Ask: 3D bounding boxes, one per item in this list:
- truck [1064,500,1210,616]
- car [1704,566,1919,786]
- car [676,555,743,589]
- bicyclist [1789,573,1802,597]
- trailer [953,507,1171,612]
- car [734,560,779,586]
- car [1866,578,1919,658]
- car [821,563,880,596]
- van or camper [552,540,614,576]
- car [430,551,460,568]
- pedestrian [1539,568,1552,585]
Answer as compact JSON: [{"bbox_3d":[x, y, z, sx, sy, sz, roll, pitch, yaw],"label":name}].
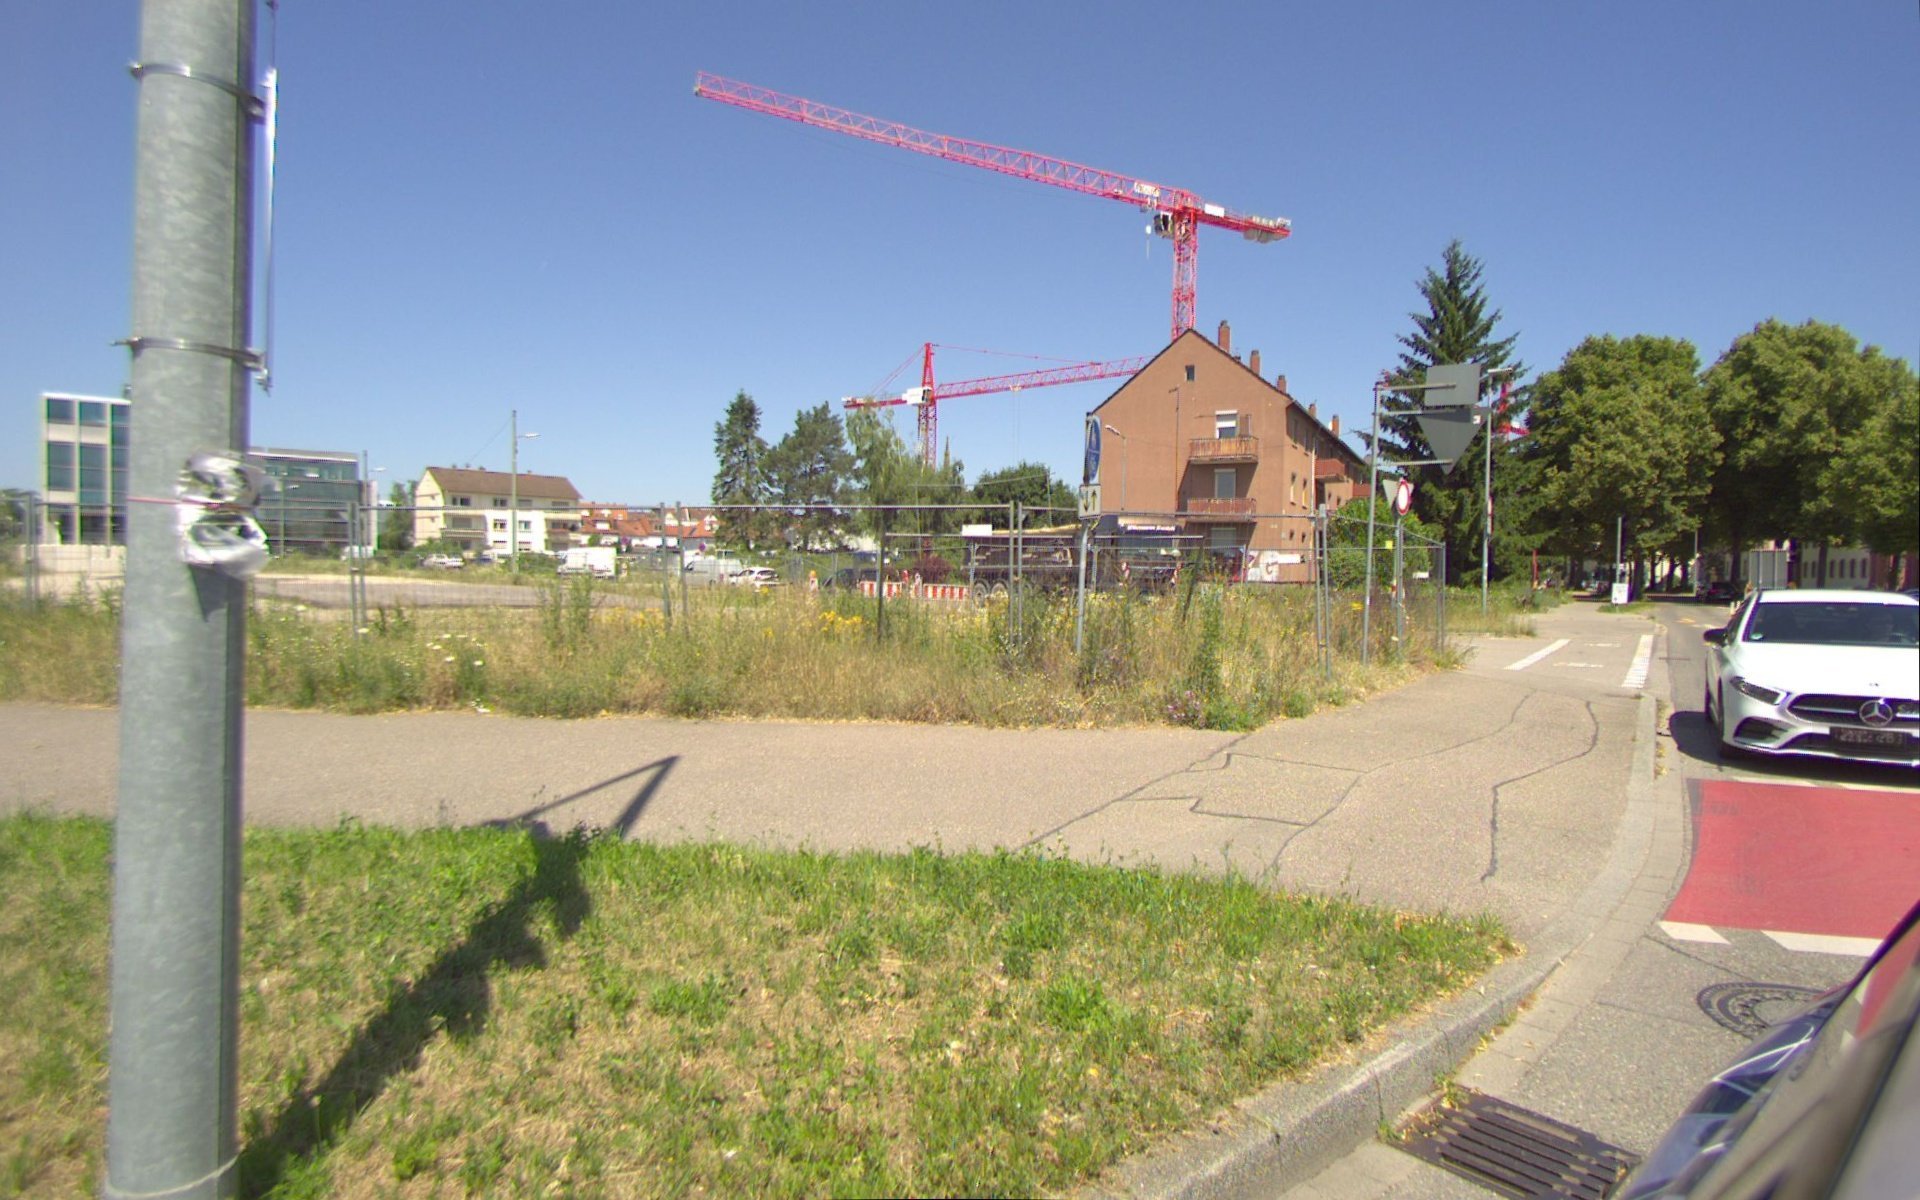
[{"bbox_3d":[5.796,-1.381,34.001,3.098,3.576,4.976,1,2,-13],"label":"truck"},{"bbox_3d":[7.863,0.513,9.012,1.769,1.564,3.916,2,2,34],"label":"car"},{"bbox_3d":[-15.860,-1.767,64.041,4.663,2.038,1.759,3,2,41],"label":"car"},{"bbox_3d":[58.050,-1.030,70.329,0.564,1.630,0.732,2,2,30],"label":"bicyclist"},{"bbox_3d":[3.611,-1.545,38.801,3.105,3.576,8.992,0,2,-36],"label":"trailer"},{"bbox_3d":[-12.098,-1.643,60.188,1.395,1.422,2.786,-3,5,-42],"label":"car"},{"bbox_3d":[18.310,0.372,17.399,1.772,1.469,4.607,1,1,9],"label":"car"},{"bbox_3d":[-5.771,-1.086,53.153,1.346,1.633,3.413,0,2,-41],"label":"car"},{"bbox_3d":[-28.799,-3.189,77.171,1.898,2.634,6.987,0,2,-43],"label":"van or camper"},{"bbox_3d":[-50.826,-4.028,99.870,1.653,1.605,3.612,-2,2,-44],"label":"car"},{"bbox_3d":[56.472,-2.275,97.602,1.019,1.536,0.673,2,2,36],"label":"pedestrian"}]
